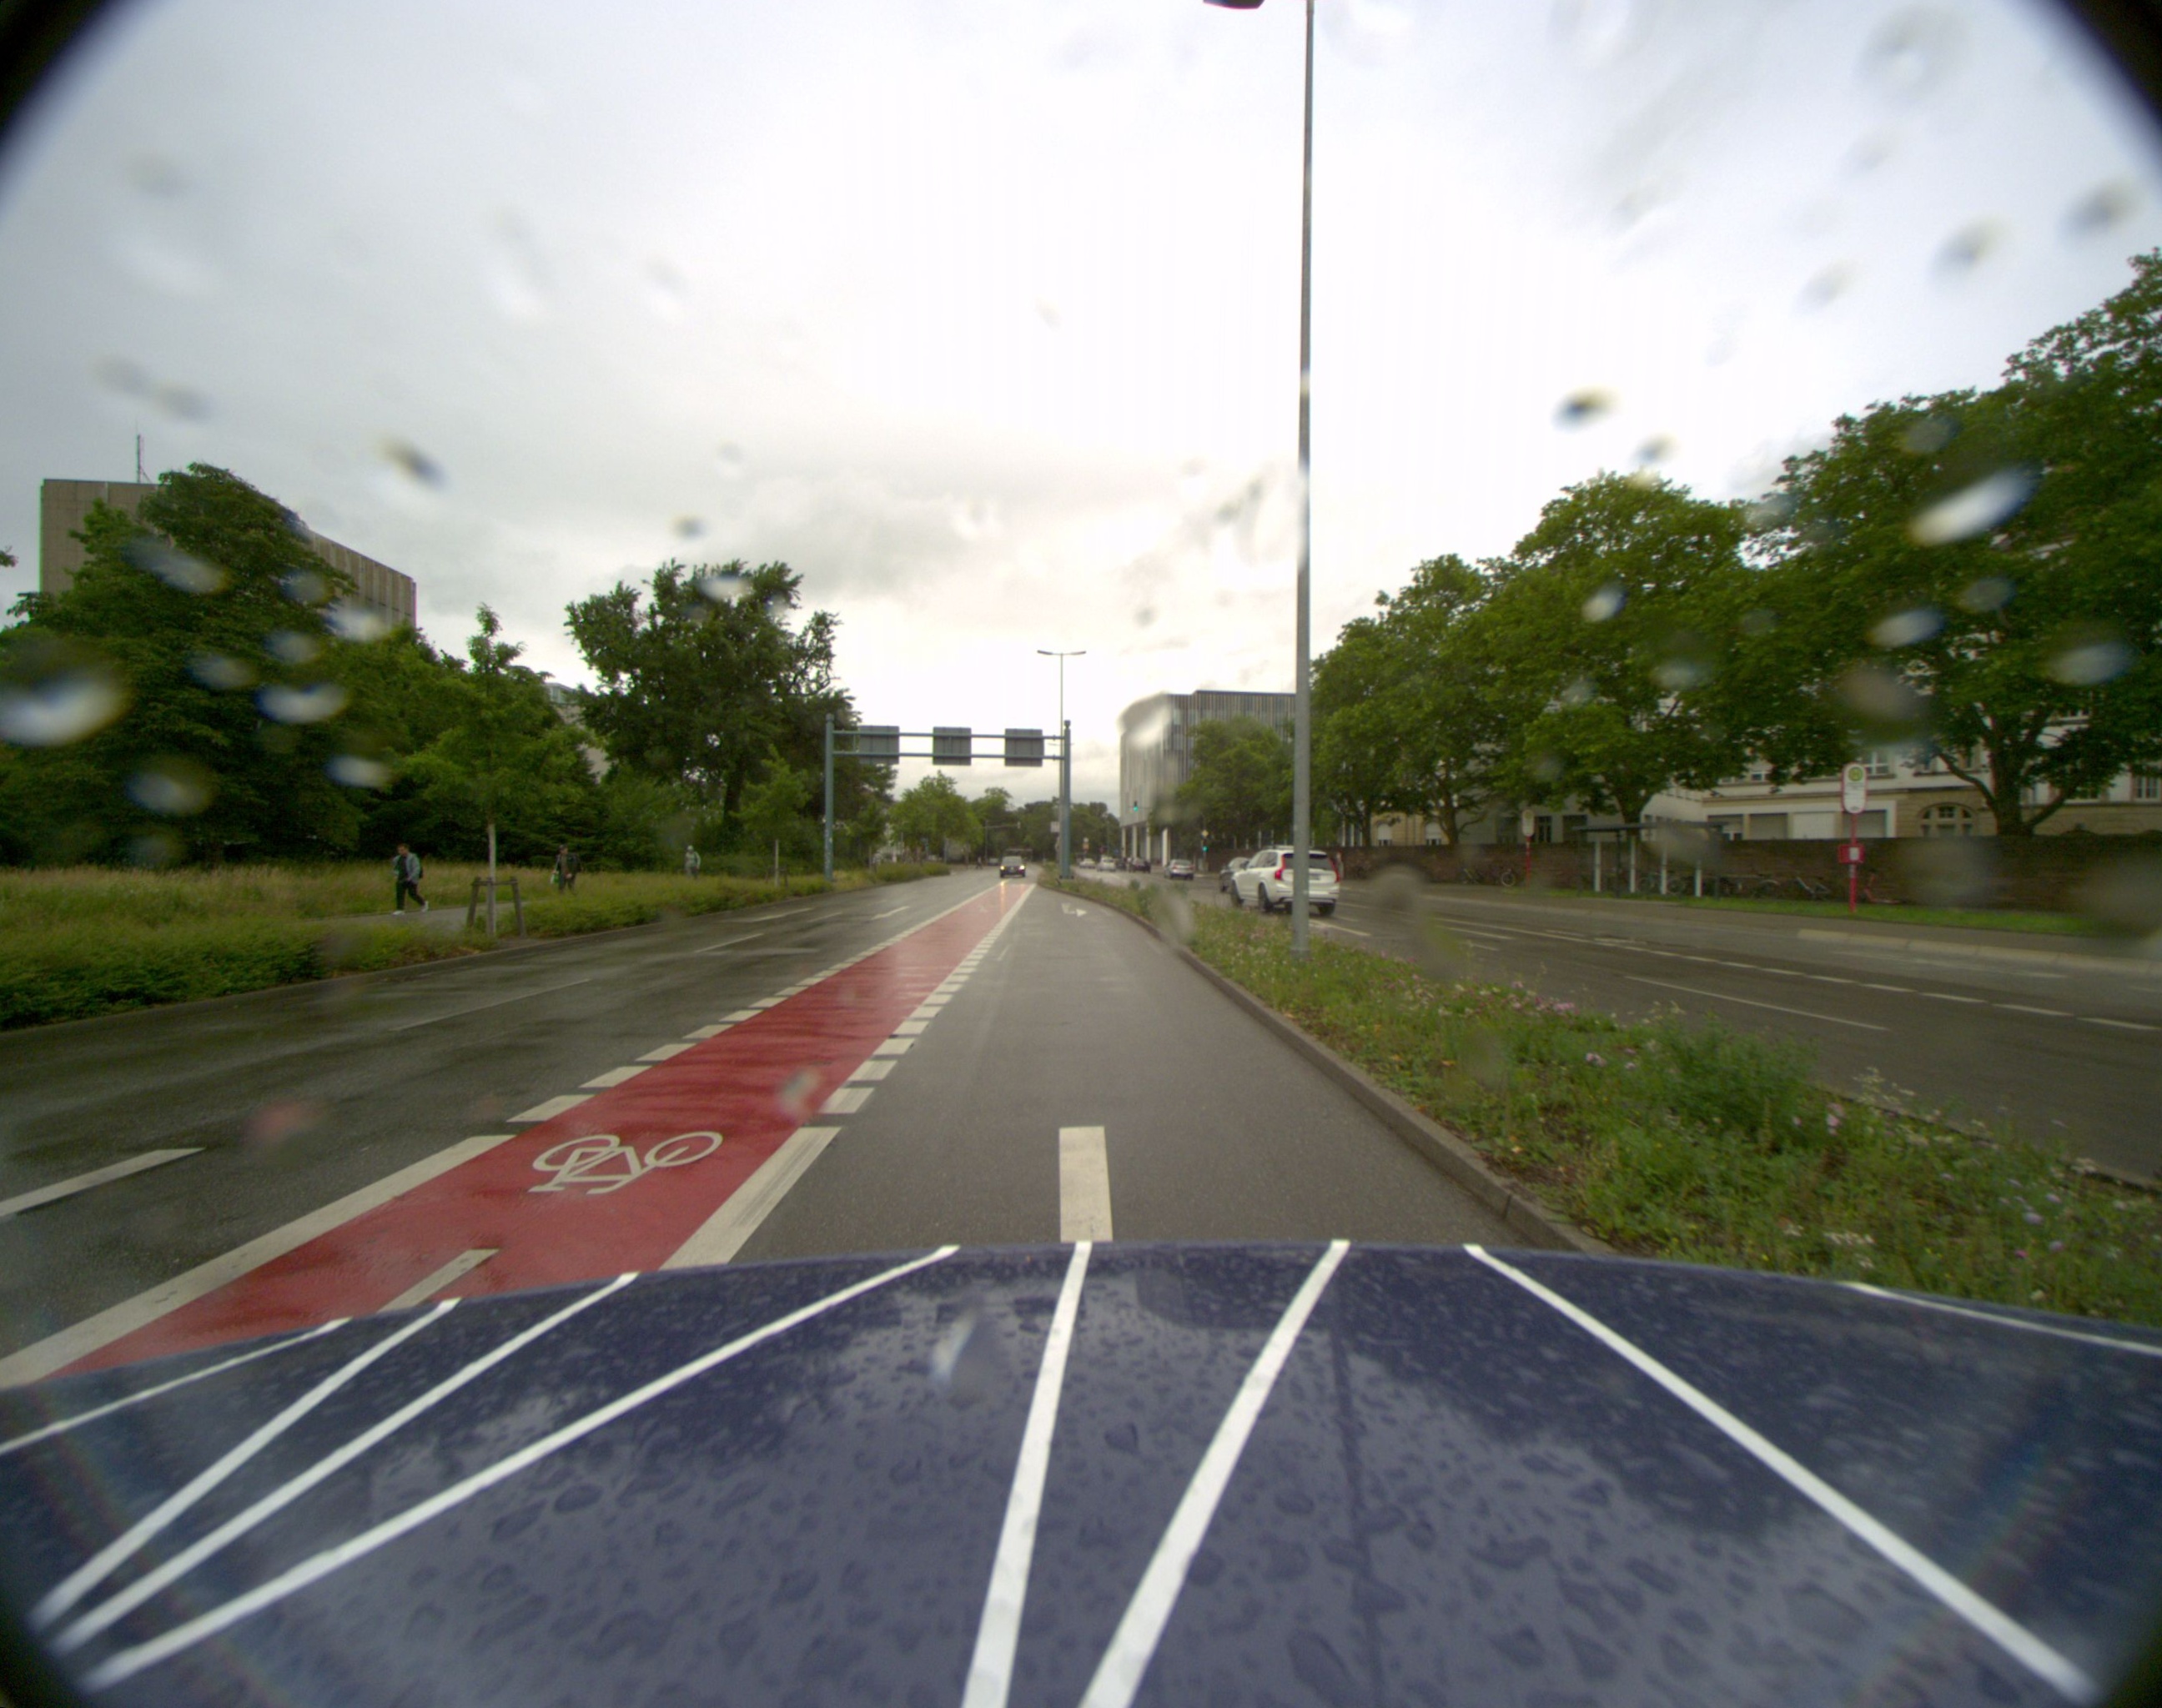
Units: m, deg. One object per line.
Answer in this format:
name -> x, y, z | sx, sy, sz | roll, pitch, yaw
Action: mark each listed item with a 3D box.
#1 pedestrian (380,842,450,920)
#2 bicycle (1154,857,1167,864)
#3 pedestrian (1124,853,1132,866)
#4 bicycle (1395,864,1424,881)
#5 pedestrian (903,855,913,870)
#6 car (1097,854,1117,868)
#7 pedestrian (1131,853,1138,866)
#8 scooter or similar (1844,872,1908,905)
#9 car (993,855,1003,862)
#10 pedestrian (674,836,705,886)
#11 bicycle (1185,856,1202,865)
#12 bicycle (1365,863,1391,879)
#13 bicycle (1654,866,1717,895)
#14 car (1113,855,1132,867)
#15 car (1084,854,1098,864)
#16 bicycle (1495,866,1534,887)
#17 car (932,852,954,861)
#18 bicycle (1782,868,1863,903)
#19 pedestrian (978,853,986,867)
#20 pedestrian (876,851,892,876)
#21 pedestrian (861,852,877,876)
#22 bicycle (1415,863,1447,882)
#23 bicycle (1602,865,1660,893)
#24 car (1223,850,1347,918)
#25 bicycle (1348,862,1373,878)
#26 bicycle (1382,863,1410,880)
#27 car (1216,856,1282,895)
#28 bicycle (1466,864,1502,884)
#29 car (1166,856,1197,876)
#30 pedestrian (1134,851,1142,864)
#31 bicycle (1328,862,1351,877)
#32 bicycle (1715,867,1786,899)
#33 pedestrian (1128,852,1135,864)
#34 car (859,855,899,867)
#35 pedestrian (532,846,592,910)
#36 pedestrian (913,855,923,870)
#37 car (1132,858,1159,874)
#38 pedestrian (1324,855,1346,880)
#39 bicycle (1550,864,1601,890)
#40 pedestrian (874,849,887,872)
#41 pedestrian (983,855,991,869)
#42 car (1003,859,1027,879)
pedestrian -> -15.742, 0.621, 17.987 | 0.935, 1.786, 0.829 | 0, 0, 4
bicycle -> 14.086, 1.104, 134.622 | 2.287, 1.215, 0.598 | 0, 0, -15
pedestrian -> 6.534, 0.741, 104.822 | 0.788, 1.813, 0.794 | 0, 0, -26
bicycle -> 19.545, 1.073, 45.239 | 0.734, 0.977, 1.699 | 0, 0, -14
pedestrian -> -18.472, 0.915, 81.303 | 0.878, 1.598, 0.862 | 0, 0, -24
car -> 2.732, 0.726, 81.621 | 1.684, 1.493, 3.866 | 1, 0, -5
pedestrian -> 7.621, 0.741, 108.099 | 0.788, 1.813, 0.623 | 0, 0, -26
scooter or similar -> 26.756, 1.155, 25.588 | 0.574, 1.040, 1.360 | 0, 0, -19
car -> -15.664, 0.892, 143.137 | 1.661, 1.259, 4.105 | 0, 0, -4
pedestrian -> -15.968, 0.291, 31.021 | 0.792, 2.002, 0.829 | 0, 0, 4
bicycle -> 16.118, 0.891, 108.757 | 2.287, 1.215, 0.598 | 0, 0, -15
bicycle -> 18.834, 1.057, 48.242 | 0.734, 0.977, 1.699 | 0, 0, -14
bicycle -> 24.565, 1.065, 30.927 | 0.575, 1.129, 1.988 | 0, 0, -19
car -> 5.076, 0.873, 94.035 | 1.629, 1.407, 4.063 | 2, 0, -7
car -> 1.485, 0.721, 112.157 | 1.600, 1.407, 4.522 | 2, 0, -5
bicycle -> 21.663, 1.105, 37.996 | 0.734, 0.977, 1.699 | 0, 0, -14
car -> -28.397, 0.466, 155.989 | 4.428, 1.862, 1.636 | 0, 0, -11
bicycle -> 26.246, 1.095, 26.942 | 0.575, 1.129, 1.988 | 0, 0, -19
pedestrian -> -13.562, 0.808, 104.144 | 0.785, 1.813, 0.626 | 1, 0, 26
pedestrian -> -14.294, 0.691, 55.100 | 0.935, 1.710, 0.829 | -1, -2, 2
pedestrian -> -15.433, 0.715, 55.379 | 0.935, 1.693, 0.829 | -1, -2, 2
bicycle -> 19.752, 1.030, 42.893 | 0.734, 0.977, 1.699 | 0, 0, -14
bicycle -> 23.726, 1.061, 32.820 | 0.575, 1.129, 1.987 | 0, 0, -22
car -> 5.708, 0.766, 22.002 | 1.831, 1.672, 5.163 | 2, 0, -4
bicycle -> 18.334, 1.056, 49.920 | 0.734, 0.977, 1.699 | 0, 0, -14
bicycle -> 19.315, 1.073, 46.573 | 0.734, 0.977, 1.699 | 0, 0, -14
car -> 7.687, 0.931, 35.294 | 1.998, 1.626, 4.602 | 2, 0, 0
bicycle -> 21.212, 1.046, 40.032 | 0.734, 0.977, 1.699 | 0, 0, -14
car -> 7.478, 0.905, 56.847 | 1.683, 1.396, 4.157 | 1, 0, -1
pedestrian -> 8.249, 0.541, 110.028 | 0.941, 1.813, 0.921 | 0, 0, -26
bicycle -> 17.881, 1.057, 52.648 | 0.734, 0.977, 1.699 | 0, 0, -14
bicycle -> 25.301, 1.091, 28.775 | 0.575, 1.129, 1.988 | 0, 0, -19
pedestrian -> 7.225, 0.560, 108.515 | 0.788, 1.814, 0.623 | 0, 1, -26
car -> -24.438, 0.823, 92.046 | 4.389, 1.330, 1.771 | 0, 3, -6
pedestrian -> -14.615, 0.658, 21.414 | 0.935, 1.737, 1.046 | 0, 0, 4
pedestrian -> -17.483, 0.909, 81.728 | 0.878, 1.598, 0.862 | 0, 0, -25
car -> 6.834, 1.212, 80.578 | 1.814, 1.531, 4.699 | 2, 0, -8
pedestrian -> 16.949, 0.899, 50.785 | 0.871, 1.686, 1.399 | 0, 0, -9
bicycle -> 22.776, 1.057, 35.039 | 0.575, 1.129, 1.987 | 0, 0, -22
pedestrian -> -16.051, 0.514, 60.912 | 0.731, 1.848, 0.851 | 0, 0, 4
pedestrian -> -13.015, 1.112, 105.341 | 0.784, 1.813, 0.626 | 1, 1, 34
car -> -4.677, 1.031, 54.097 | 1.661, 1.356, 4.105 | 0, 0, -4
